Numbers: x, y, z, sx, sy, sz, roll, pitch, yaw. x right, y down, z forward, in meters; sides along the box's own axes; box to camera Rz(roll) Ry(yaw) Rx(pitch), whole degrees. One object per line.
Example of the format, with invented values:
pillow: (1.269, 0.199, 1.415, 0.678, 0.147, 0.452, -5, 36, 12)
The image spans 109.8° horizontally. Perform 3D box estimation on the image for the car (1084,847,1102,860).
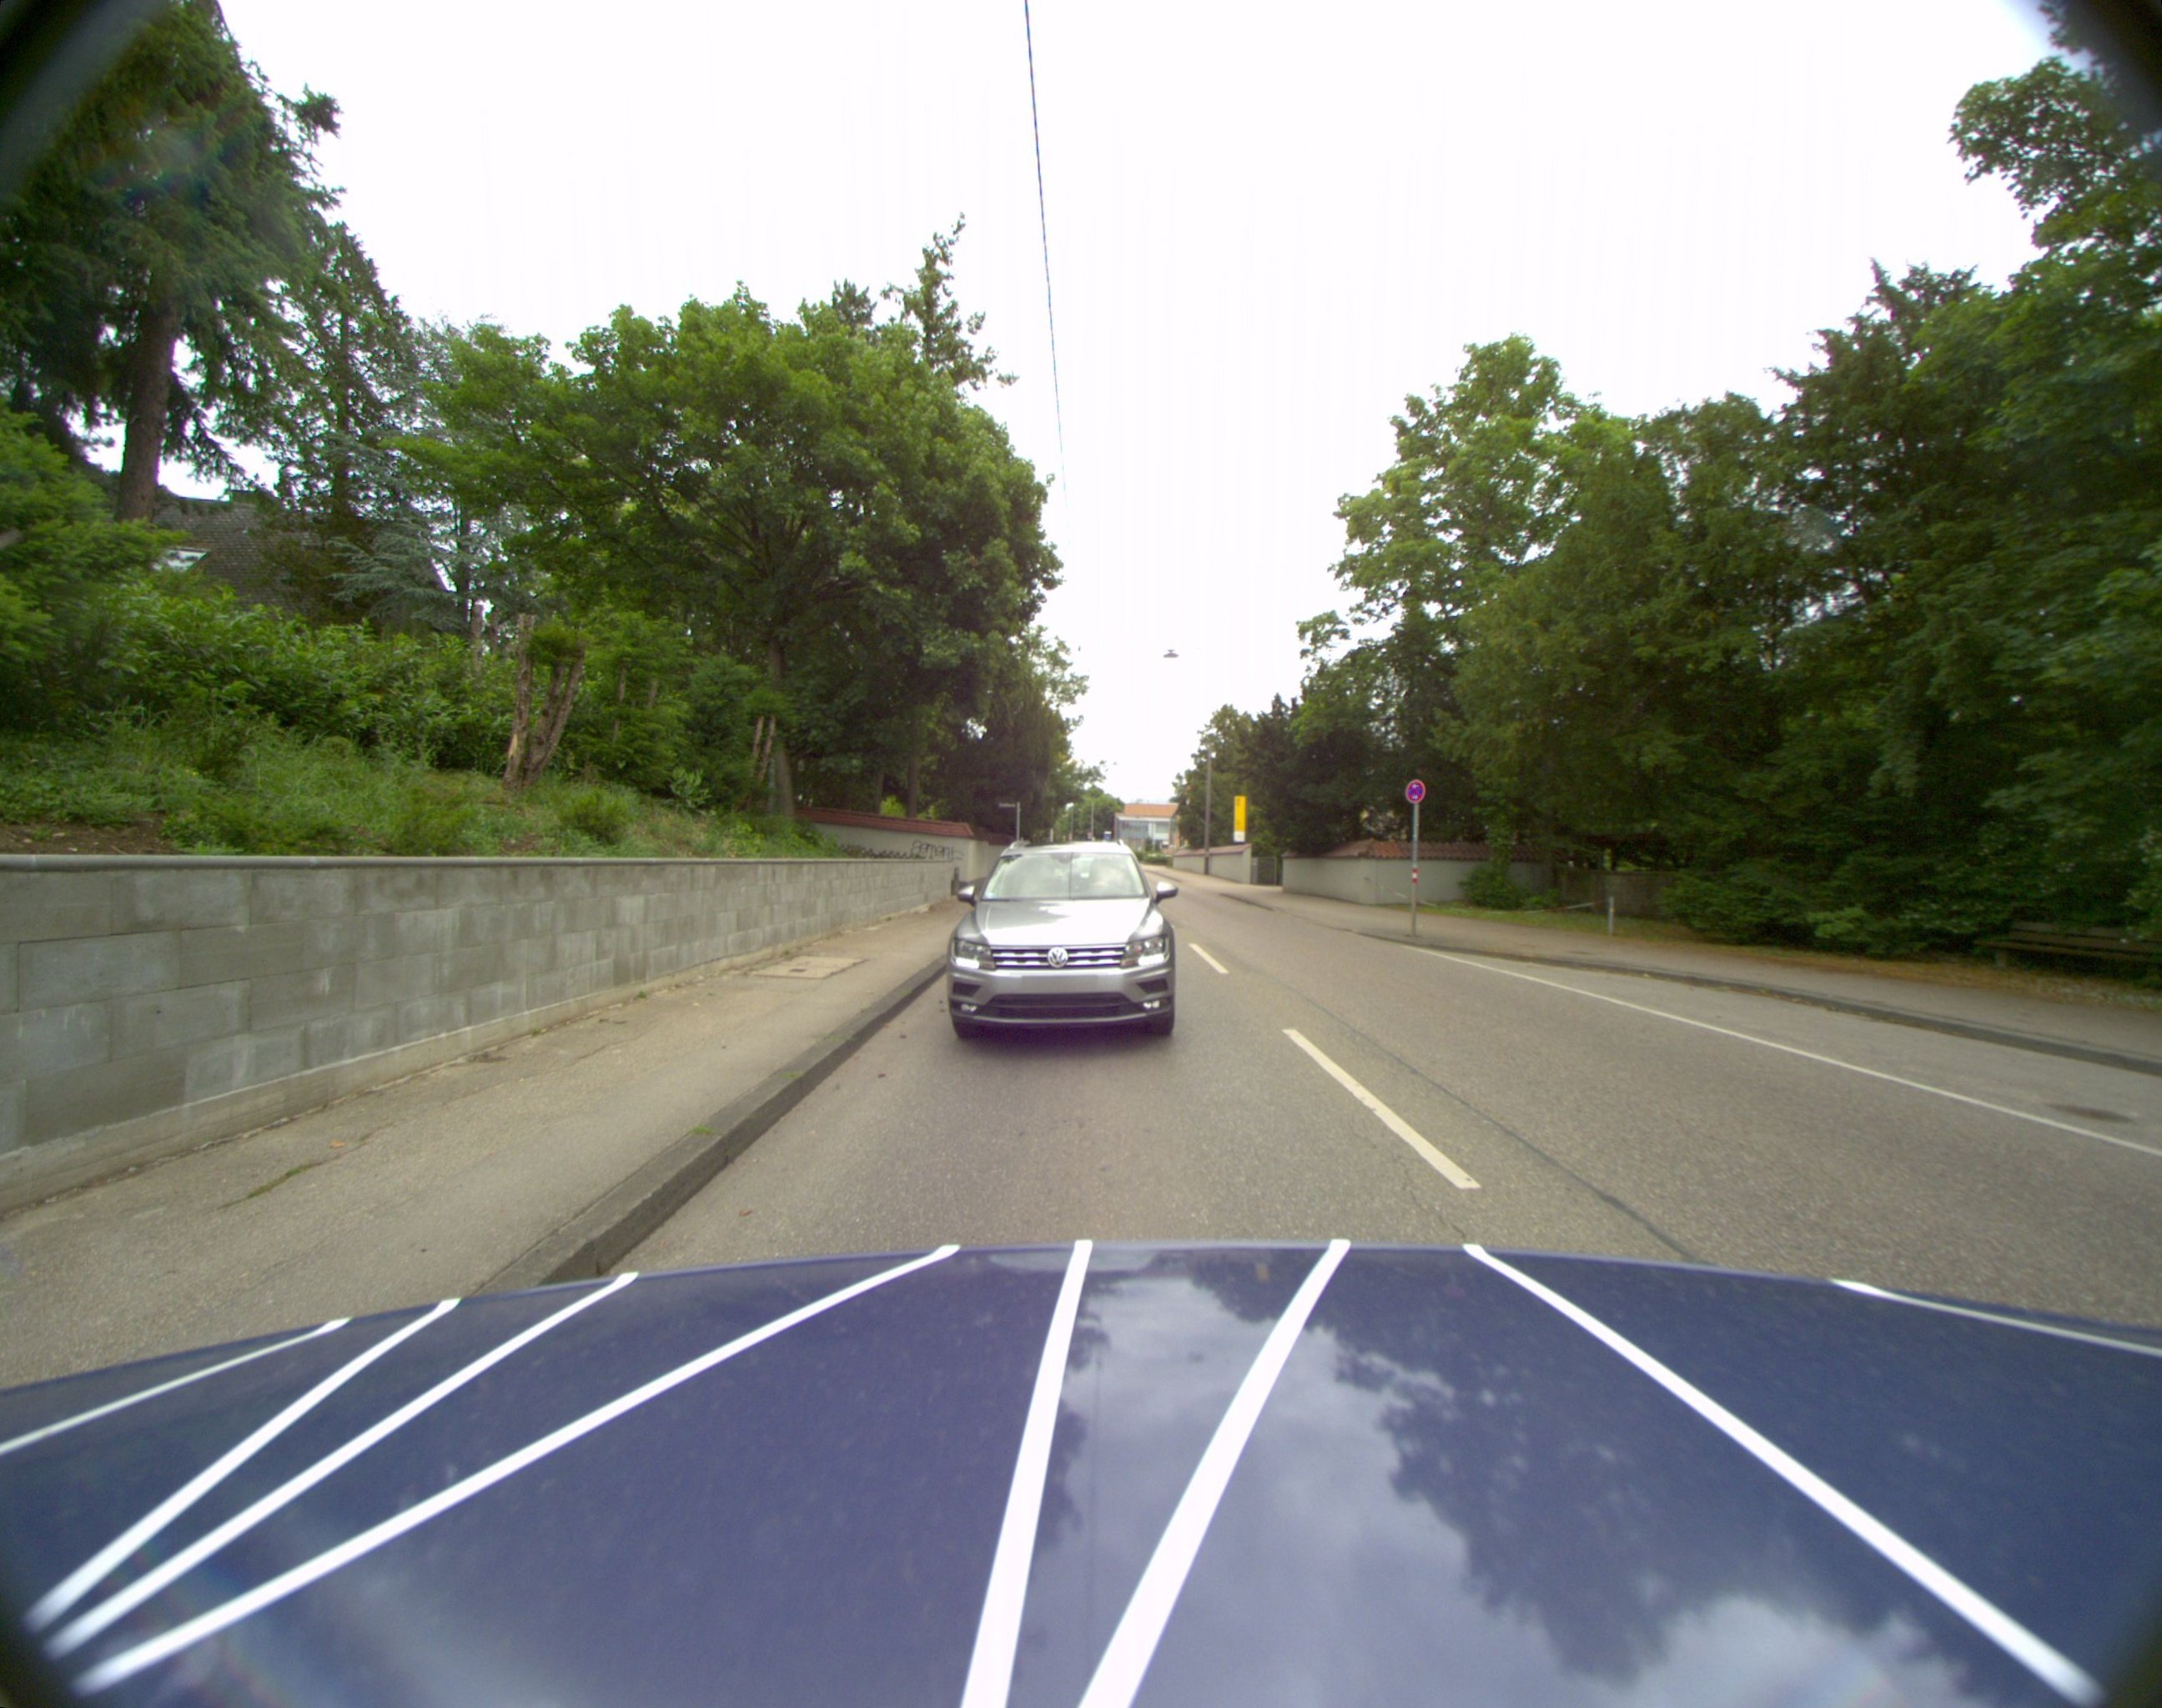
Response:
car: (1.594, -0.057, 103.296, 1.878, 1.647, 4.252, 0, 1, -8)

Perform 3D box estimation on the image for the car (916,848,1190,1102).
car: (-0.177, 0.806, 7.514, 1.820, 1.690, 4.718, -1, 0, 0)

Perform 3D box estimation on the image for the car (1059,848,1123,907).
car: (0.297, 0.636, 23.667, 1.820, 1.647, 4.487, 0, 1, 0)

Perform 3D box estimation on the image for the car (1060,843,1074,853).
car: (-2.486, -1.092, 134.371, 1.878, 1.647, 4.251, 0, 1, -9)

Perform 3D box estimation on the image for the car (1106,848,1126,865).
car: (3.420, 0.194, 74.893, 1.877, 1.647, 4.255, 0, 1, 0)
